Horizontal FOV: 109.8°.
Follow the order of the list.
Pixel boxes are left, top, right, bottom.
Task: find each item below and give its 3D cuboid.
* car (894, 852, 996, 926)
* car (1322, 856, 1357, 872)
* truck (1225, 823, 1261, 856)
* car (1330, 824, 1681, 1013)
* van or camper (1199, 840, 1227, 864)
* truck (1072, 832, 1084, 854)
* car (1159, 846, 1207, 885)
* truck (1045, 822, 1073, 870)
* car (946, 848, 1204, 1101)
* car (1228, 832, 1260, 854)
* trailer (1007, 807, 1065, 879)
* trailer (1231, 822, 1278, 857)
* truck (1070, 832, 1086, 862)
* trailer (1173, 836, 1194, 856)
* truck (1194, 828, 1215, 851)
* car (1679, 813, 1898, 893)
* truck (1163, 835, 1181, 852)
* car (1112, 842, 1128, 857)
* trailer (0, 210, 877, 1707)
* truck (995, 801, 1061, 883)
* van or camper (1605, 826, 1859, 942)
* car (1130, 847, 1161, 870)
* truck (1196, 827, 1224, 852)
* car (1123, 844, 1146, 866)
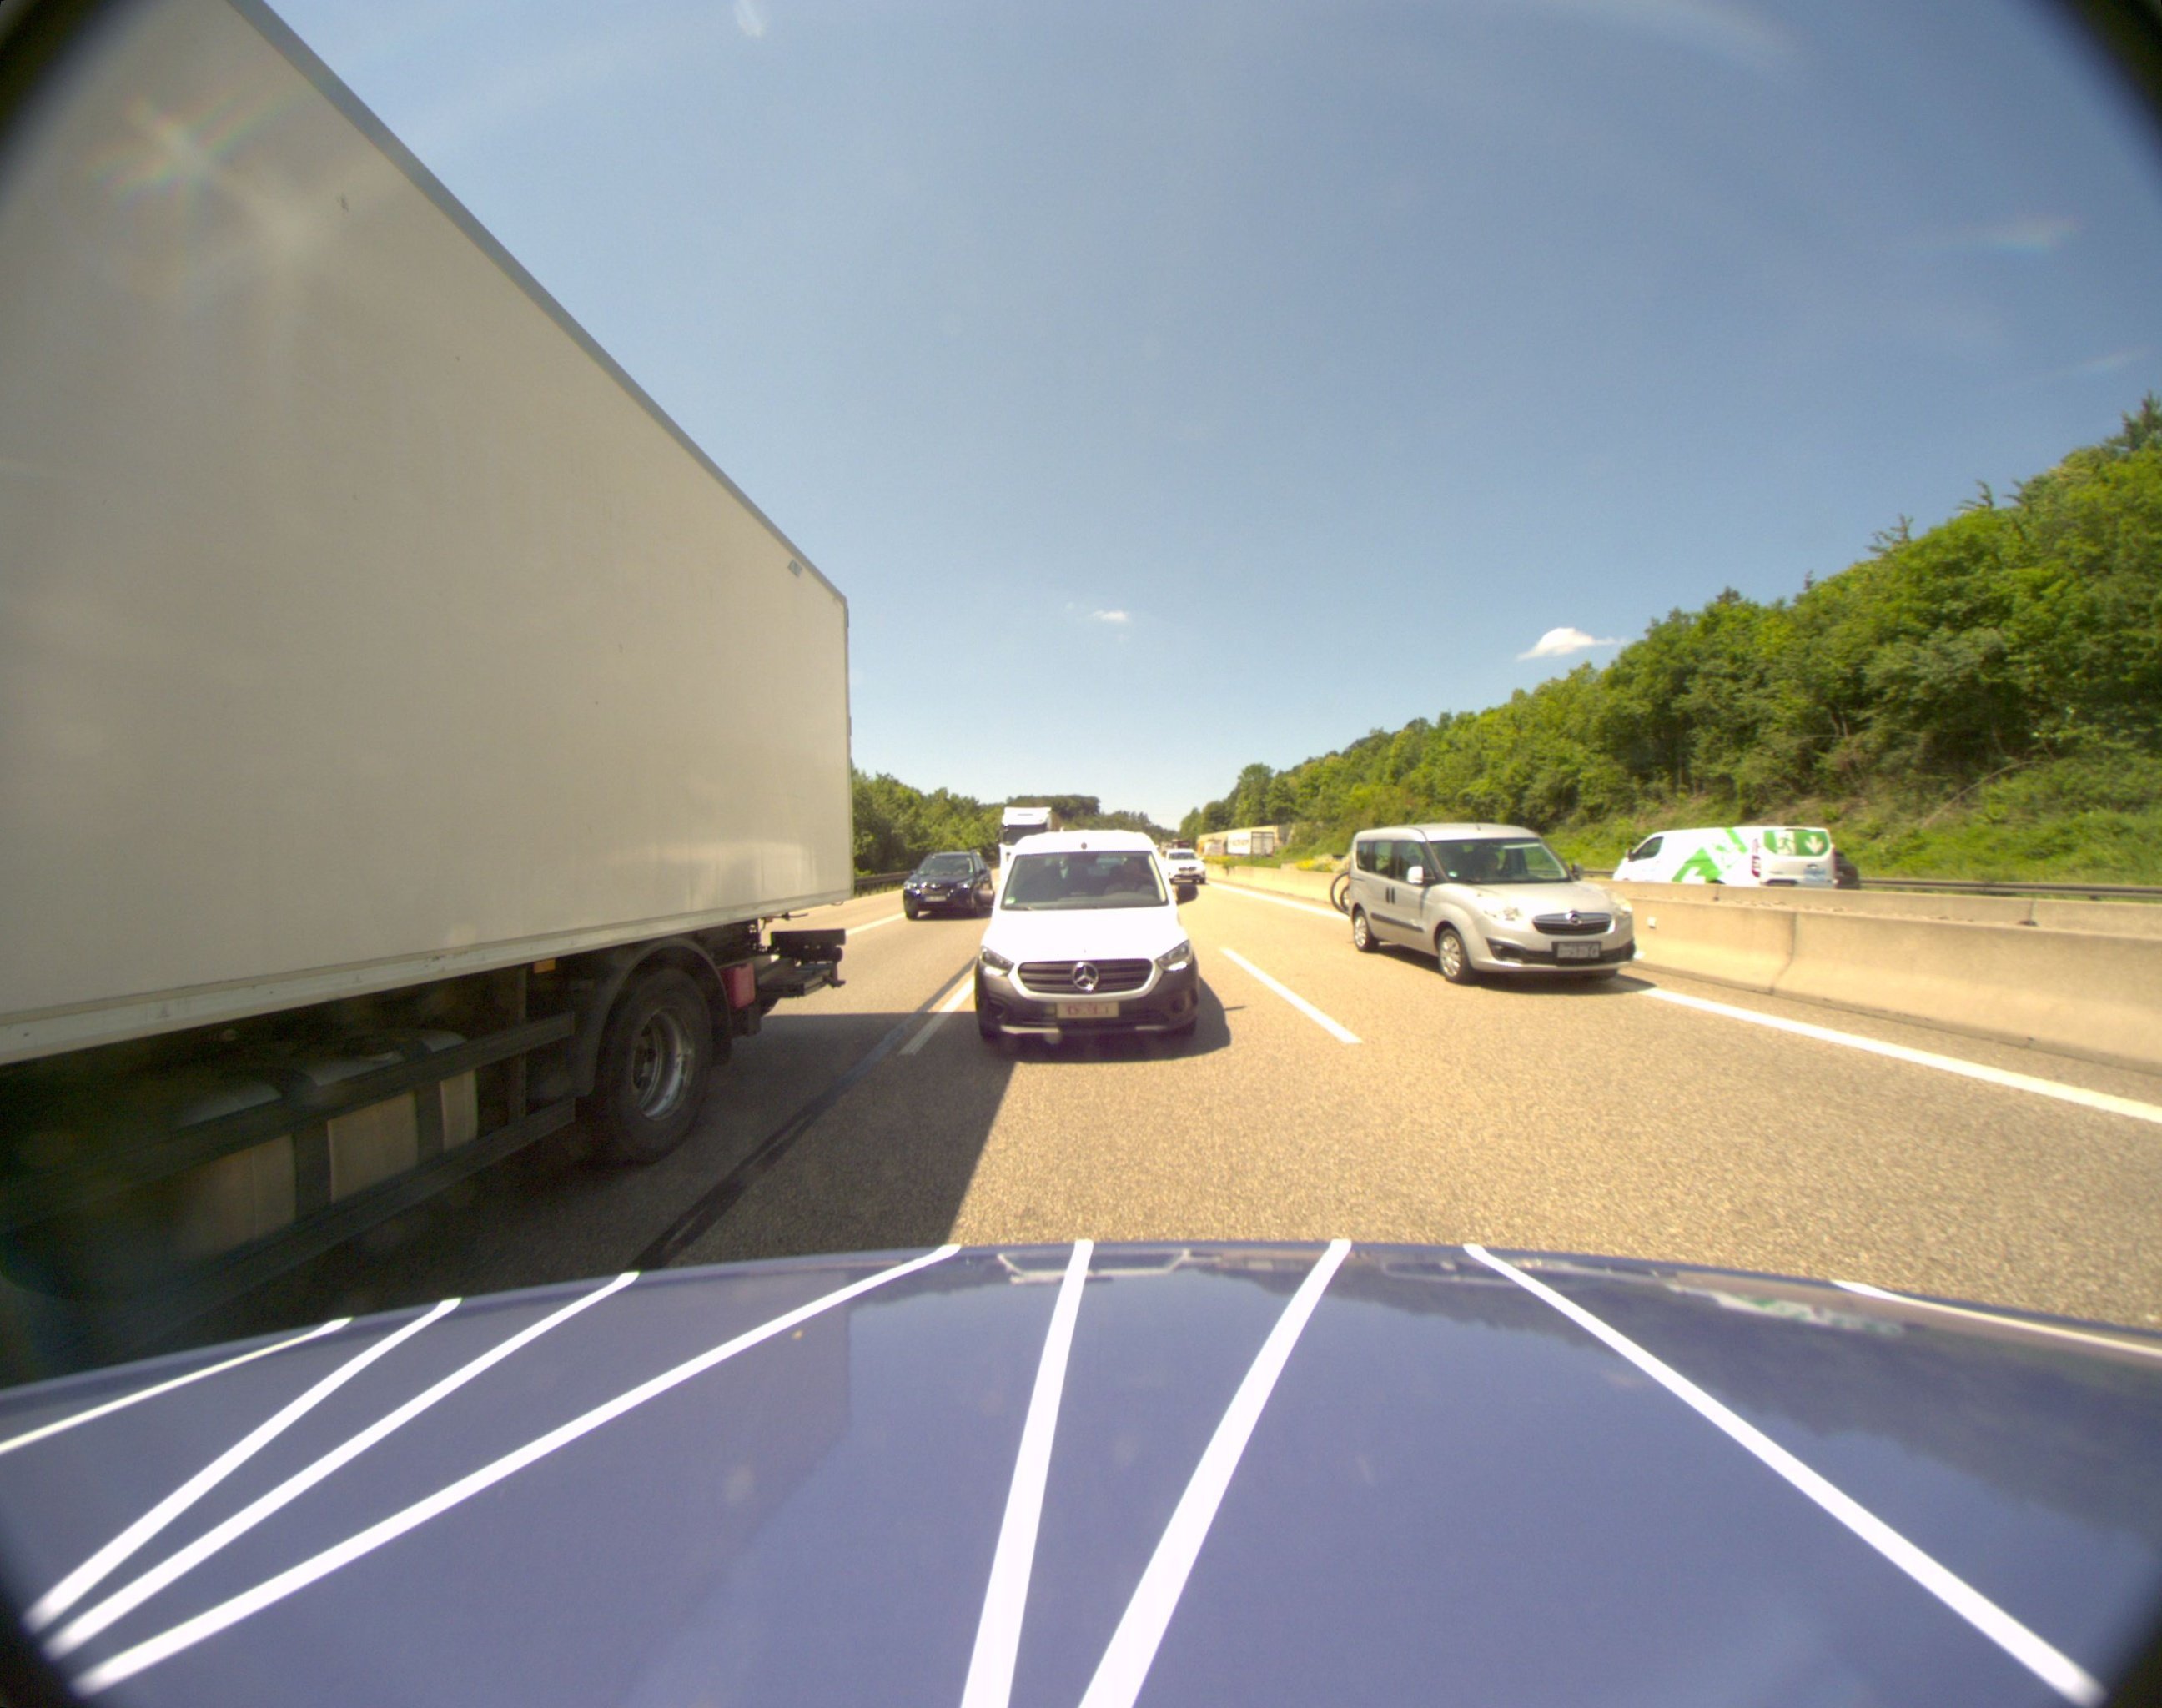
[{"bbox_3d":[-3.524,0.829,20.557,1.999,1.682,4.609,-1,1,-2],"label":"car"},{"bbox_3d":[23.493,0.850,69.086,1.998,1.326,4.001,-1,0,3],"label":"car"},{"bbox_3d":[20.581,-1.827,96.930,2.947,3.897,7.214,-2,1,1],"label":"truck"},{"bbox_3d":[4.896,0.582,9.781,1.857,1.762,4.917,-2,1,2],"label":"car"},{"bbox_3d":[16.793,-0.295,97.099,2.400,2.860,6.710,-2,1,0],"label":"van or camper"},{"bbox_3d":[-0.653,-2.085,152.899,2.187,4.073,10.869,-2,0,0],"label":"truck"},{"bbox_3d":[4.901,0.515,36.921,1.824,1.696,3.999,-2,1,1],"label":"car"},{"bbox_3d":[-2.142,-0.720,77.655,2.394,4.437,10.869,-2,0,0],"label":"truck"},{"bbox_3d":[-0.003,0.835,7.534,1.756,1.681,4.363,-2,1,1],"label":"car"},{"bbox_3d":[15.496,-1.066,72.443,1.999,2.002,3.999,-2,1,-1],"label":"car"},{"bbox_3d":[-2.653,-0.750,48.705,2.766,4.061,11.615,0,1,1],"label":"trailer"},{"bbox_3d":[20.537,-1.712,90.759,3.004,3.850,11.398,-2,1,1],"label":"trailer"},{"bbox_3d":[-0.465,-0.953,119.113,2.187,4.437,10.869,-2,0,0],"label":"truck"},{"bbox_3d":[21.861,-1.739,162.119,3.443,4.171,7.896,-2,1,1],"label":"trailer"},{"bbox_3d":[25.274,-3.007,156.012,3.099,4.519,7.093,-2,1,1],"label":"truck"},{"bbox_3d":[20.234,-0.057,22.067,2.119,2.002,4.476,-2,1,-2],"label":"car"},{"bbox_3d":[25.706,-2.914,215.040,3.277,4.518,14.101,-2,0,1],"label":"truck"},{"bbox_3d":[5.437,-0.611,106.358,1.999,2.002,3.999,-1,1,-1],"label":"car"},{"bbox_3d":[-3.303,0.230,3.230,2.562,2.882,7.881,-2,0,1],"label":"trailer"},{"bbox_3d":[-2.780,-0.677,42.140,2.766,4.061,7.333,-2,1,2],"label":"truck"},{"bbox_3d":[15.553,0.604,18.626,1.998,2.371,4.808,3,1,1],"label":"van or camper"},{"bbox_3d":[5.289,0.344,63.065,1.999,1.747,3.998,-2,1,-2],"label":"car"},{"bbox_3d":[25.155,-2.868,148.898,3.099,4.519,14.097,-2,1,1],"label":"truck"},{"bbox_3d":[5.187,0.039,73.570,1.998,2.002,4.000,-2,1,1],"label":"car"}]
